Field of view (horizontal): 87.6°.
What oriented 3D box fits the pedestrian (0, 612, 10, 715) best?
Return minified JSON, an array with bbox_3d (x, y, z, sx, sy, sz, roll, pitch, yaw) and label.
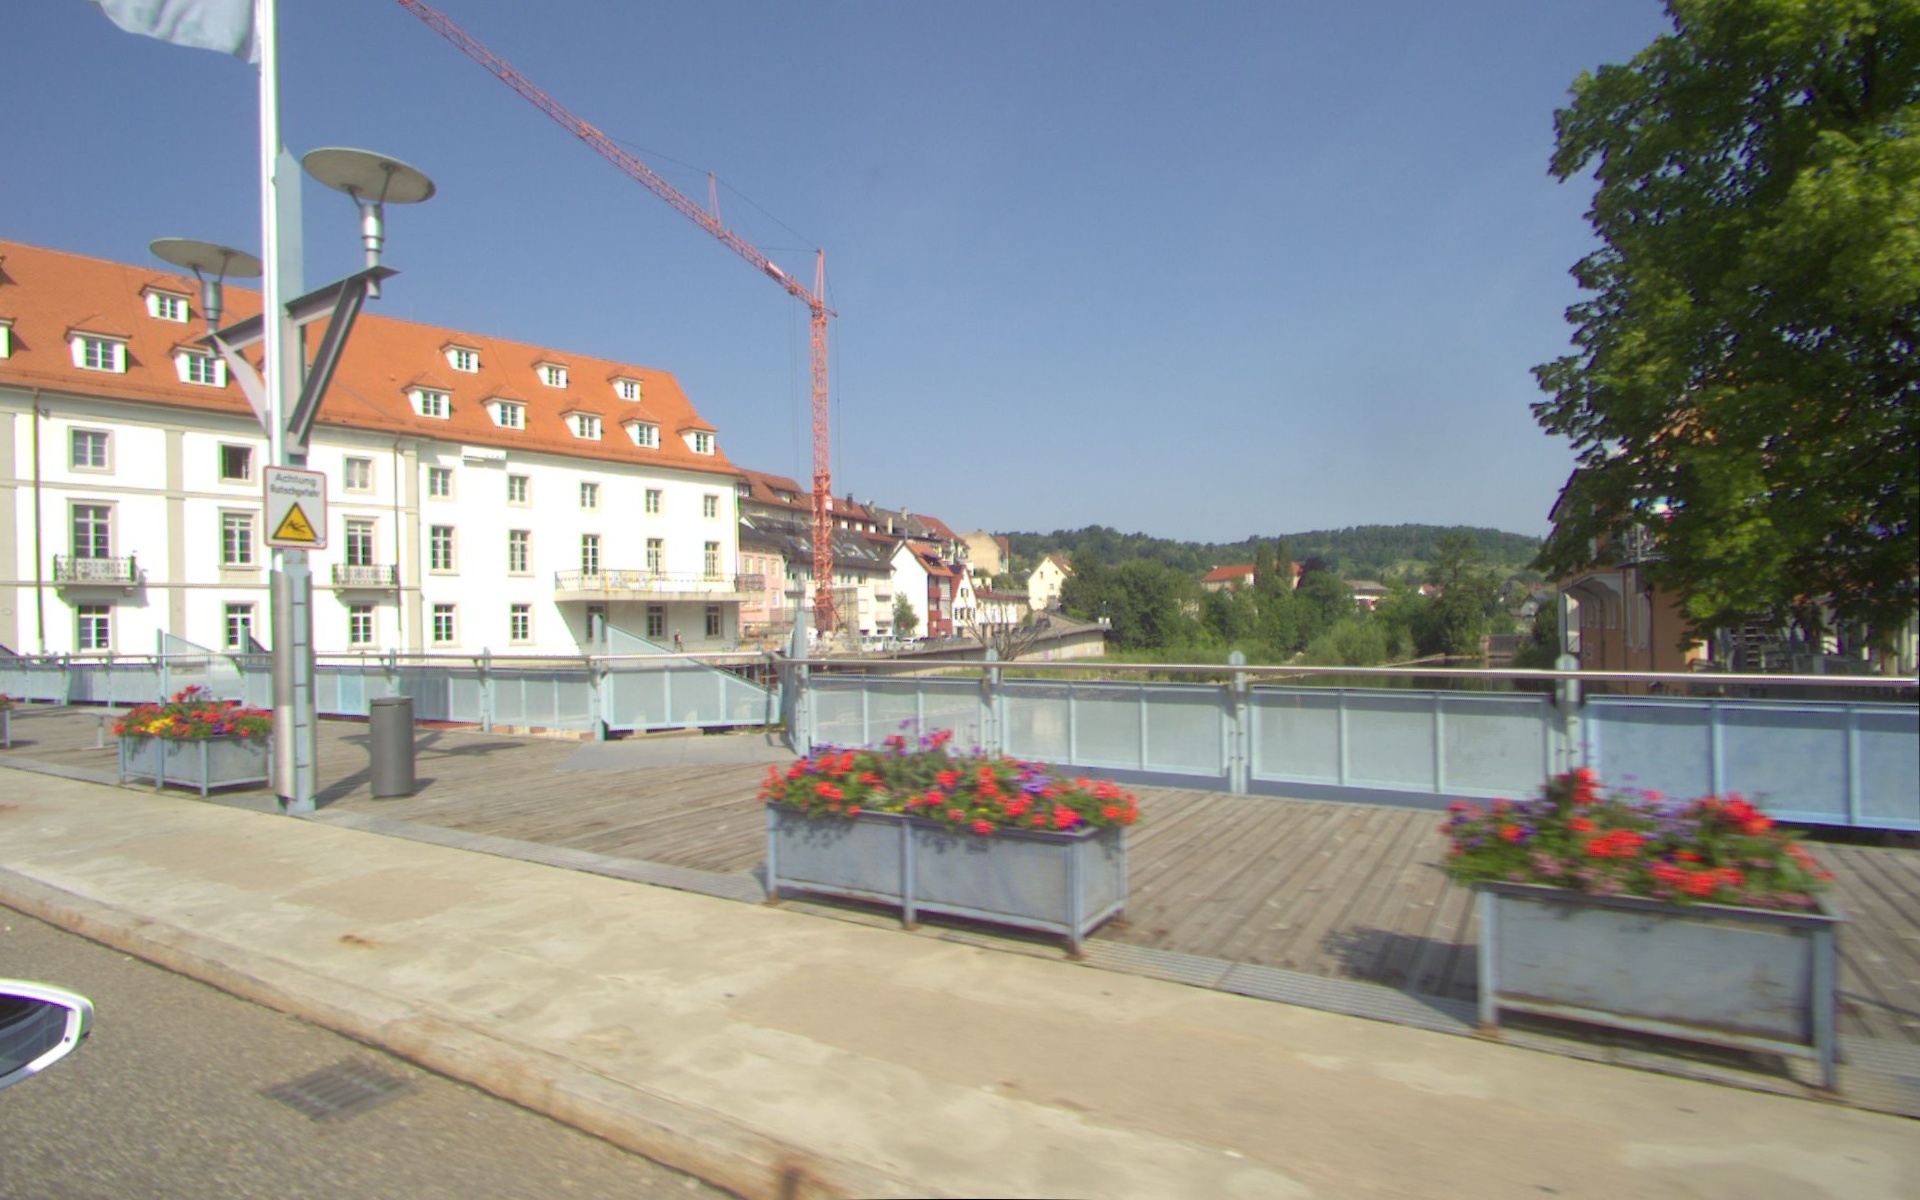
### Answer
[{"bbox_3d":[-15.613,1.011,15.892,0.555,1.639,0.665,-1,-1,32],"label":"pedestrian"}]
